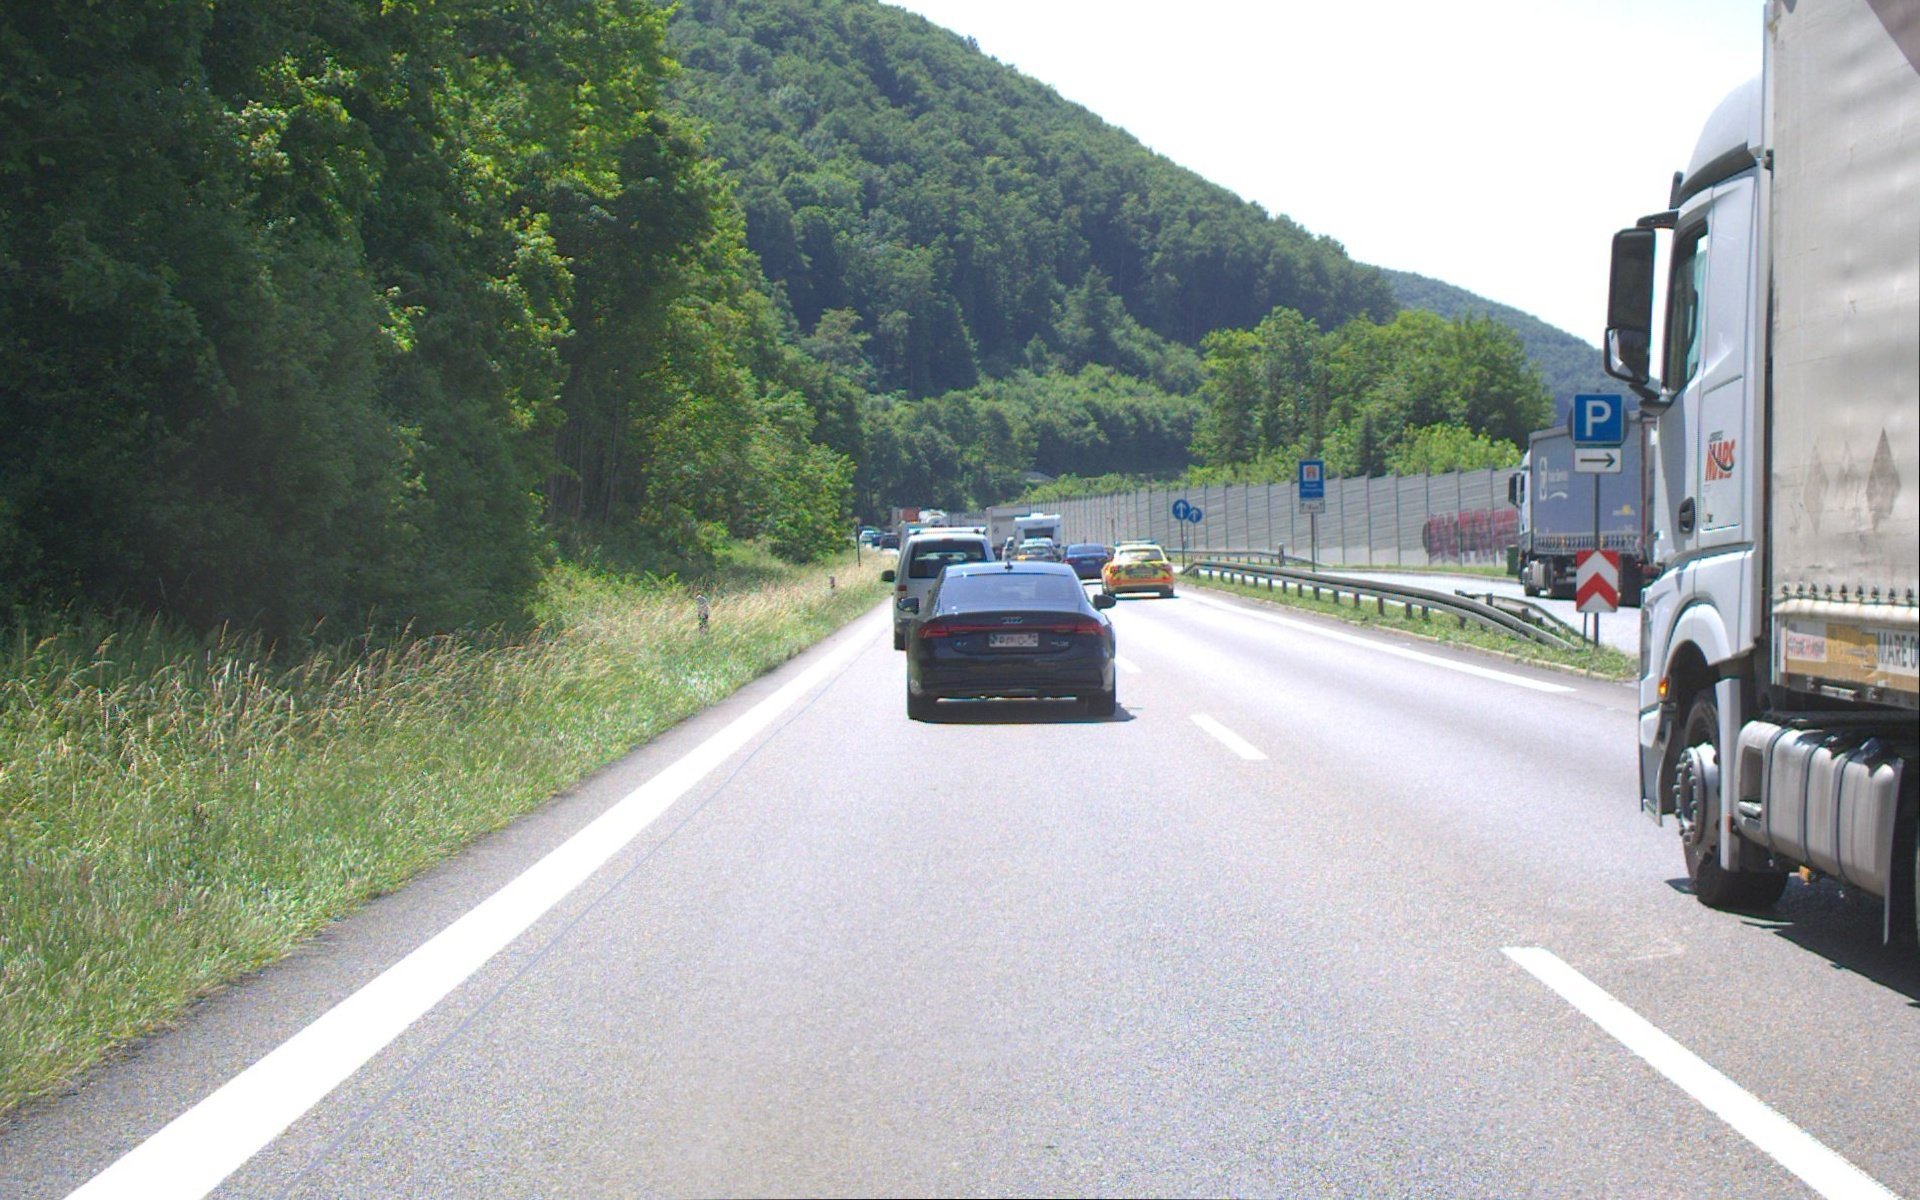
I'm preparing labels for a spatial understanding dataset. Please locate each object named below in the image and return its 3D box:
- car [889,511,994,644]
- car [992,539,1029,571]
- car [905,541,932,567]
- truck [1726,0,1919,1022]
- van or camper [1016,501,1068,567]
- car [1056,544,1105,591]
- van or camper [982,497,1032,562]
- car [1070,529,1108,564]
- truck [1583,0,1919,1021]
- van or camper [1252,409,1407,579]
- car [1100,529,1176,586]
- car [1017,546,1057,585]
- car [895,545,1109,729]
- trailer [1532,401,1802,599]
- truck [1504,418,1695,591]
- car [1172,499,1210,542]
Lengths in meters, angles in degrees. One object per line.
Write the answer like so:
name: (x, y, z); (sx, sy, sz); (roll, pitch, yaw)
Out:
car: (-0.294, -0.358, 54.504); (1.521, 1.961, 3.514); (3, 0, 0)
car: (2.951, -2.610, 199.999); (1.993, 1.788, 4.000); (2, 0, 0)
car: (-2.524, -2.822, 209.454); (1.489, 1.491, 3.590); (2, 0, 0)
truck: (4.458, -0.662, 6.384); (2.726, 4.054, 13.742); (1, 0, -1)
van or camper: (4.106, -3.287, 172.940); (2.429, 3.144, 5.203); (2, 0, 0)
car: (4.162, -1.111, 119.005); (1.530, 1.520, 3.597); (2, 0, 0)
van or camper: (2.957, -4.444, 218.532); (2.794, 3.894, 6.167); (2, 0, -2)
car: (7.530, -3.111, 201.153); (1.993, 2.007, 4.000); (1, 1, -1)
truck: (4.354, -0.699, 13.198); (2.719, 4.054, 5.754); (1, 0, -1)
van or camper: (8.875, -2.489, 83.219); (2.794, 3.828, 6.167); (2, 0, -2)
car: (4.816, -1.160, 93.420); (1.879, 1.493, 4.000); (1, 1, 0)
car: (3.181, -1.422, 142.294); (1.530, 1.520, 3.597); (2, 0, 0)
car: (0.365, 0.293, 31.520); (1.812, 1.509, 3.514); (-2, 1, 0)
trailer: (15.011, -2.096, 74.054); (3.411, 3.887, 11.152); (1, 1, 0)
truck: (14.971, -2.229, 80.879); (3.411, 3.887, 5.388); (1, 1, 0)
car: (10.919, -3.750, 162.584); (1.576, 2.007, 3.428); (0, 1, 0)
